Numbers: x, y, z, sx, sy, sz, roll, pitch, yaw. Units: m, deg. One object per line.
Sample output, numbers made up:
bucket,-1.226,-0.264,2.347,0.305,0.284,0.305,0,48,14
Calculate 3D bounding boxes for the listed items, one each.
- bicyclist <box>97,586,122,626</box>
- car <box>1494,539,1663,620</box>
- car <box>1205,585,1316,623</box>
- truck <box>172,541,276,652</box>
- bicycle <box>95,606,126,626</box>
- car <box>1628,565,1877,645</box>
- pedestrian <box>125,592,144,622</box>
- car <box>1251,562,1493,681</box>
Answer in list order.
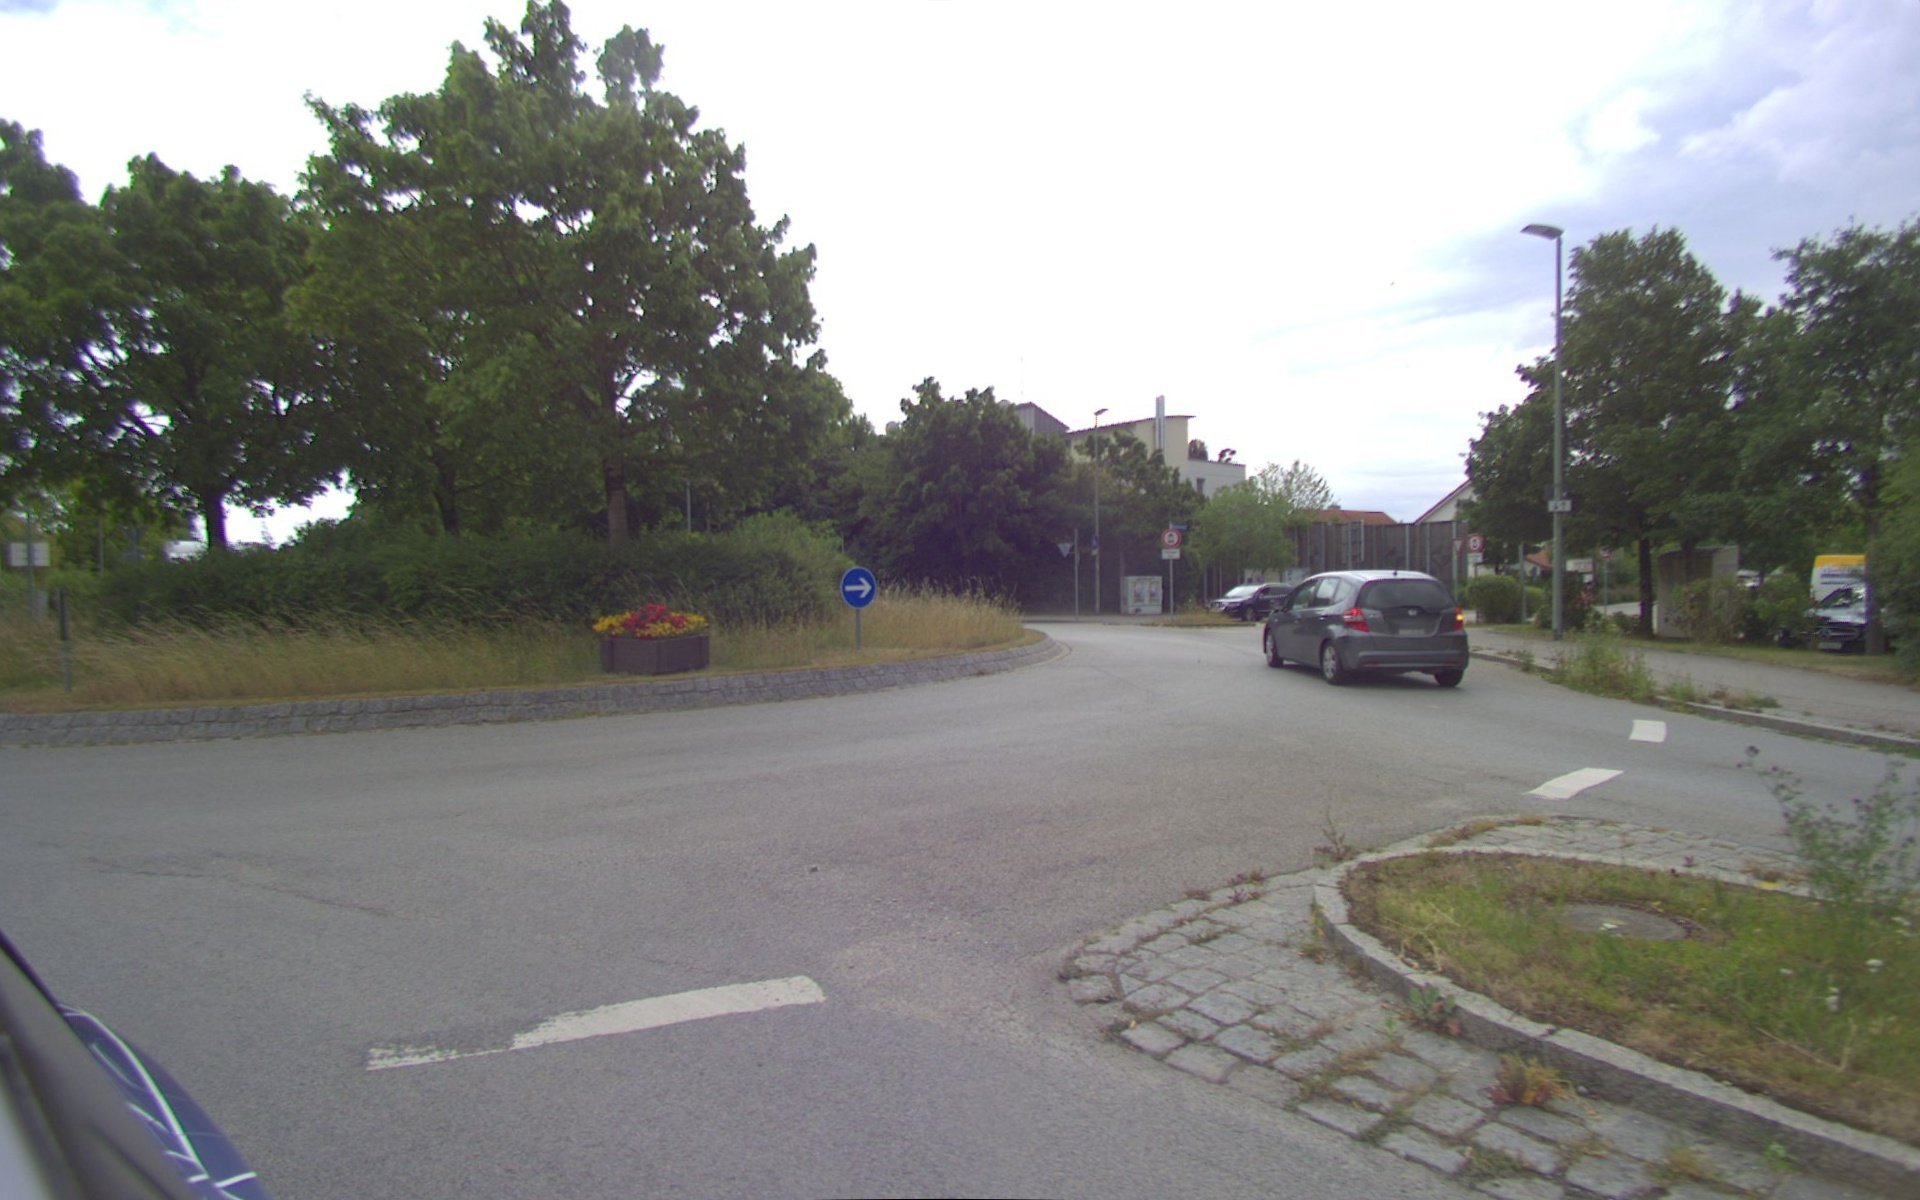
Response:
bicyclist,-38.910,0.279,46.296,0.800,1.802,0.980,1,-2,-43
car,15.629,-0.494,25.867,2.105,1.846,3.993,-2,0,6
car,11.892,0.129,39.929,4.749,1.300,1.562,-2,1,-36
truck,-26.010,-0.144,35.682,2.574,3.473,7.523,-3,2,-37
bicycle,-38.991,0.728,46.422,0.952,0.882,2.498,1,-1,-43
car,14.578,0.059,18.643,3.931,1.281,1.748,-2,0,-19
pedestrian,-43.599,0.365,53.436,0.843,1.542,0.538,-2,0,37
car,5.592,0.260,14.332,1.663,1.433,4.001,-1,0,-2
